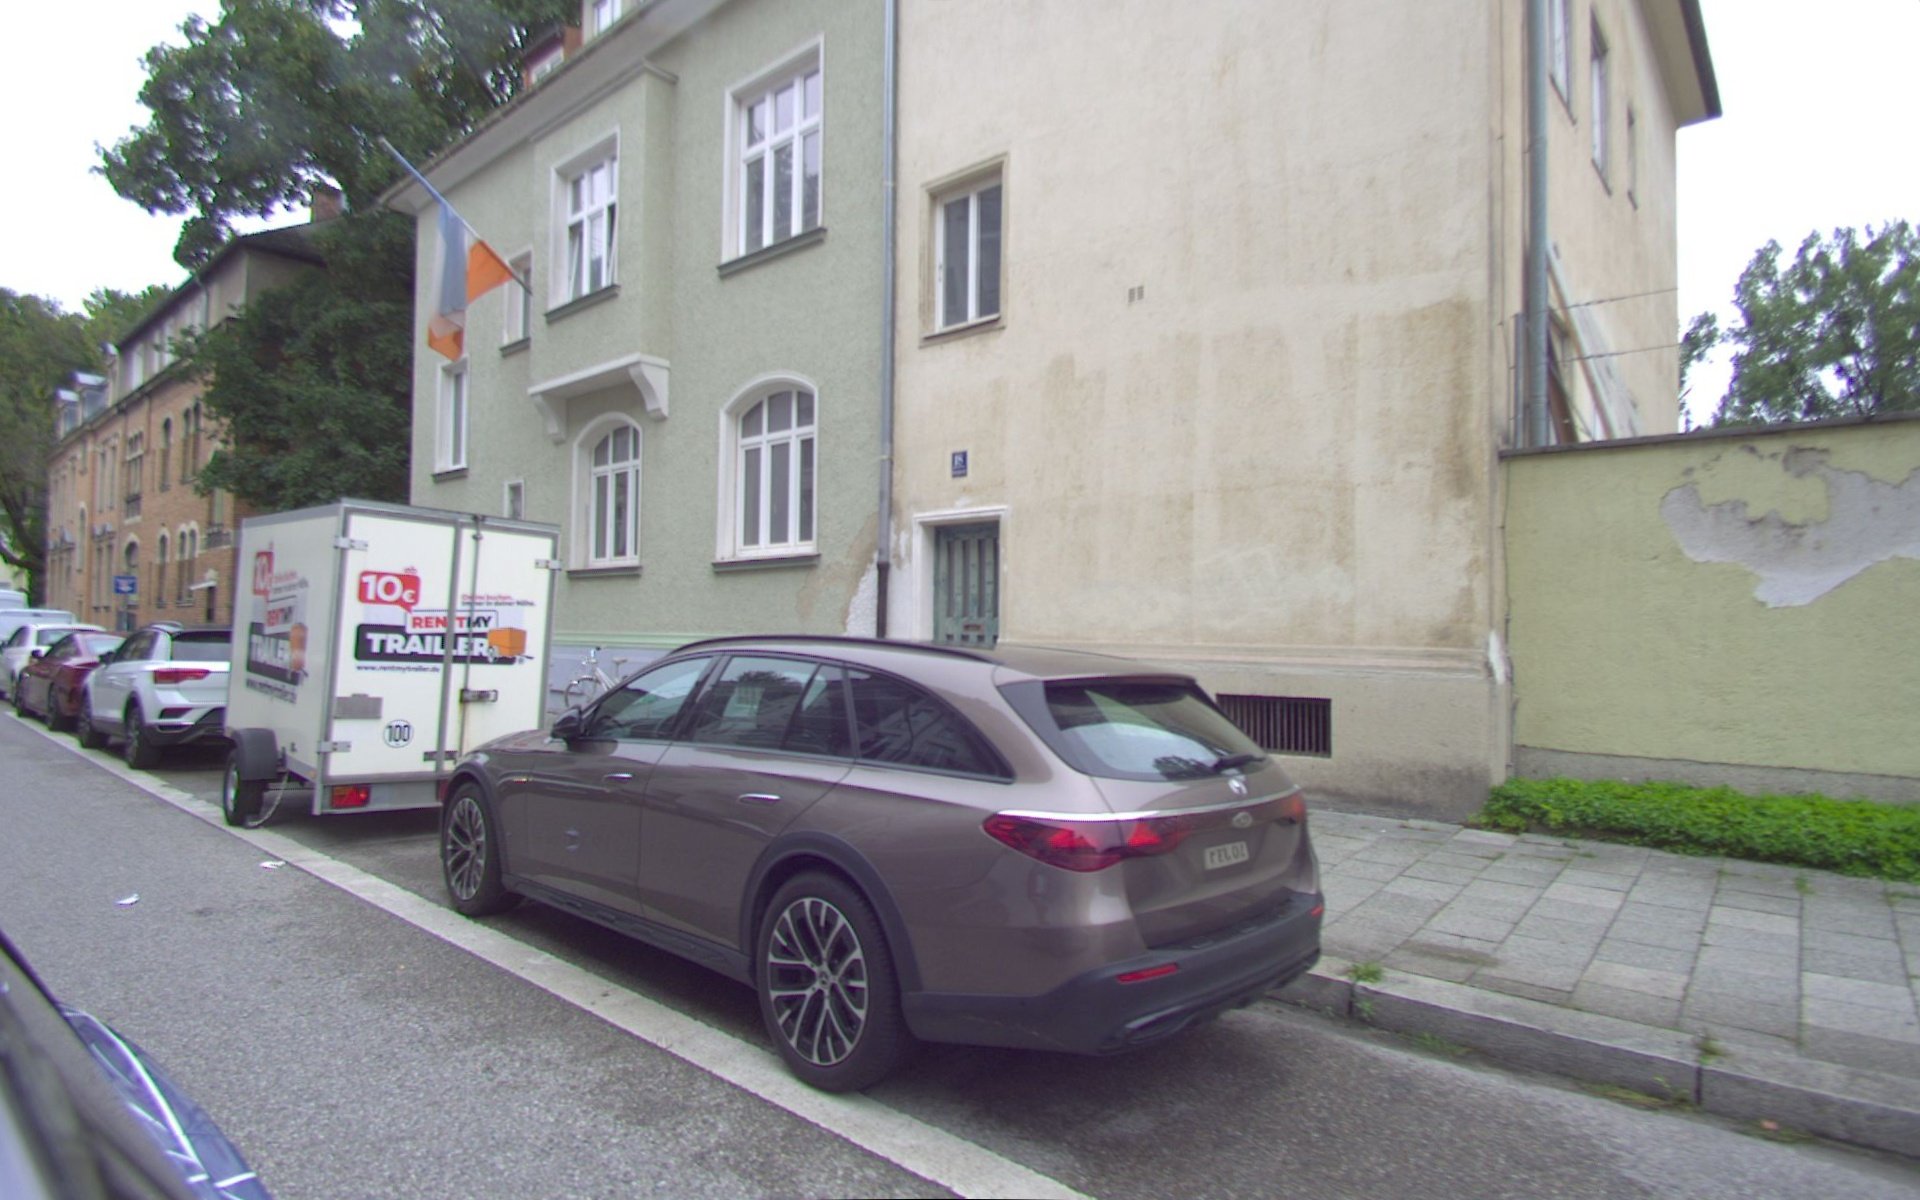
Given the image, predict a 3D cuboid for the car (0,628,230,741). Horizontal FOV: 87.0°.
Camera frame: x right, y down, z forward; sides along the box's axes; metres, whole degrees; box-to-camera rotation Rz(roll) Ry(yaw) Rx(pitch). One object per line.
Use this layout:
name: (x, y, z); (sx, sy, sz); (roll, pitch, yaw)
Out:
car: (-13.039, 1.213, 15.538); (4.329, 1.423, 1.842); (0, -4, 39)

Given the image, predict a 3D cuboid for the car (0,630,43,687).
car: (-26.015, 1.519, 27.049); (4.143, 1.454, 1.672); (-1, -4, 41)

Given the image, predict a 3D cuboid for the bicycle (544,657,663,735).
bicycle: (-4.804, 1.252, 13.568); (1.926, 0.913, 0.517); (-1, 1, 38)

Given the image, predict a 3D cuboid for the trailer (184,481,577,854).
trailer: (-5.239, 0.532, 8.867); (4.387, 2.480, 1.690); (-2, -5, 43)

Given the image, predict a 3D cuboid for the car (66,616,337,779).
car: (-9.039, 1.047, 11.958); (3.918, 1.615, 1.669); (-1, -4, 40)

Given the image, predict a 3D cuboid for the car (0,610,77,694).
car: (-21.962, 1.174, 23.349); (4.141, 1.817, 1.673); (-1, -4, 40)

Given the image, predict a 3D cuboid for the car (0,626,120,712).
car: (-17.169, 1.249, 19.028); (3.310, 1.478, 1.458); (-1, -4, 39)

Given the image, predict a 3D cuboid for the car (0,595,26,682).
car: (-29.789, 1.123, 30.327); (5.220, 2.497, 1.961); (-1, -4, 41)

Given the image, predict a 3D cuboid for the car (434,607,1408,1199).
car: (-0.599, 0.869, 4.631); (4.541, 1.550, 1.747); (-1, -4, 43)
